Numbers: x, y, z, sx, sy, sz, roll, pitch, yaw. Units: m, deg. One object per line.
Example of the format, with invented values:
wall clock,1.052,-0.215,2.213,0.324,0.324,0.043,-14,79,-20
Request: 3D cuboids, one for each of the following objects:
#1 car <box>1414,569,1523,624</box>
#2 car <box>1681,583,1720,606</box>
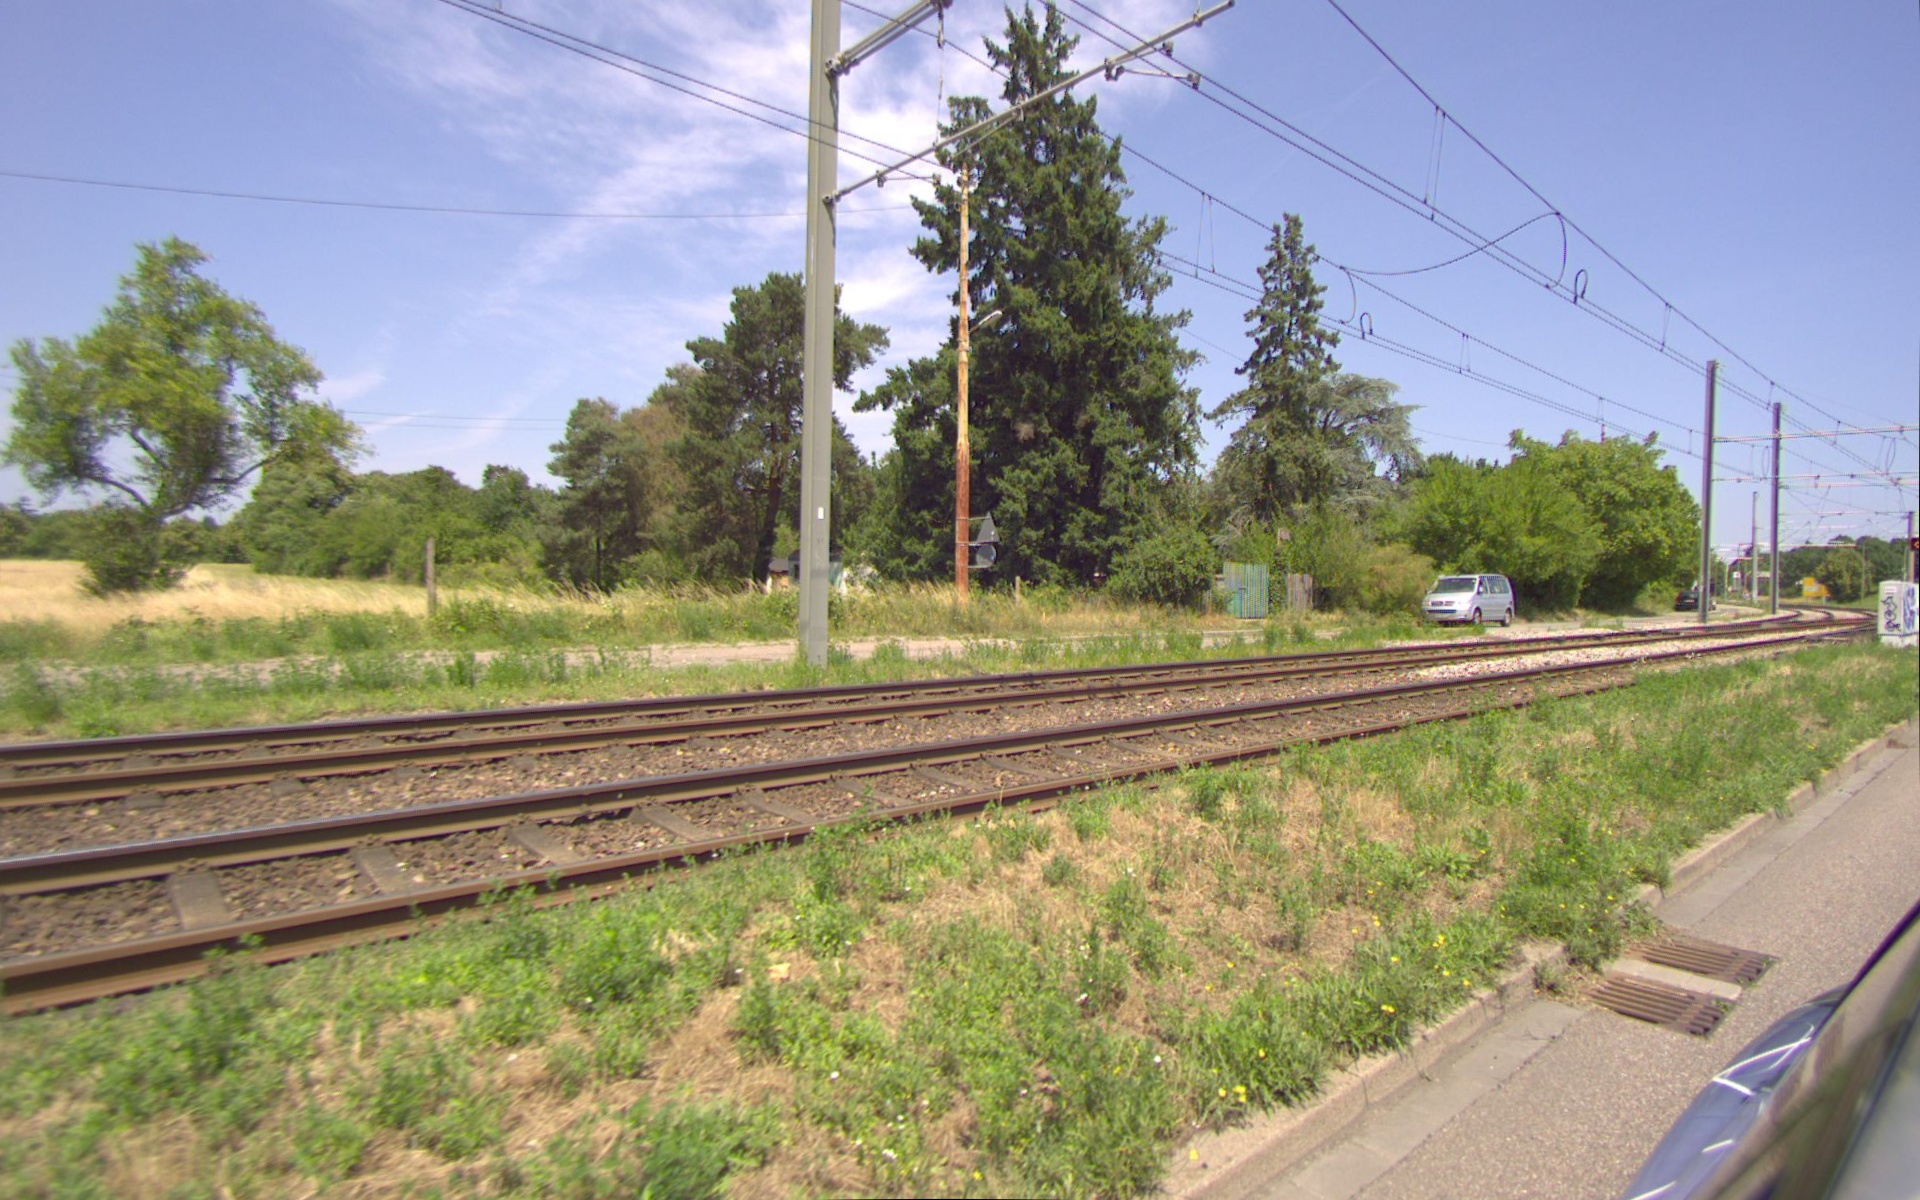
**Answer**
car,18.913,-0.195,37.509,4.985,1.905,2.038,-2,3,-44
car,52.685,-0.403,71.973,1.795,1.443,4.670,2,3,41
